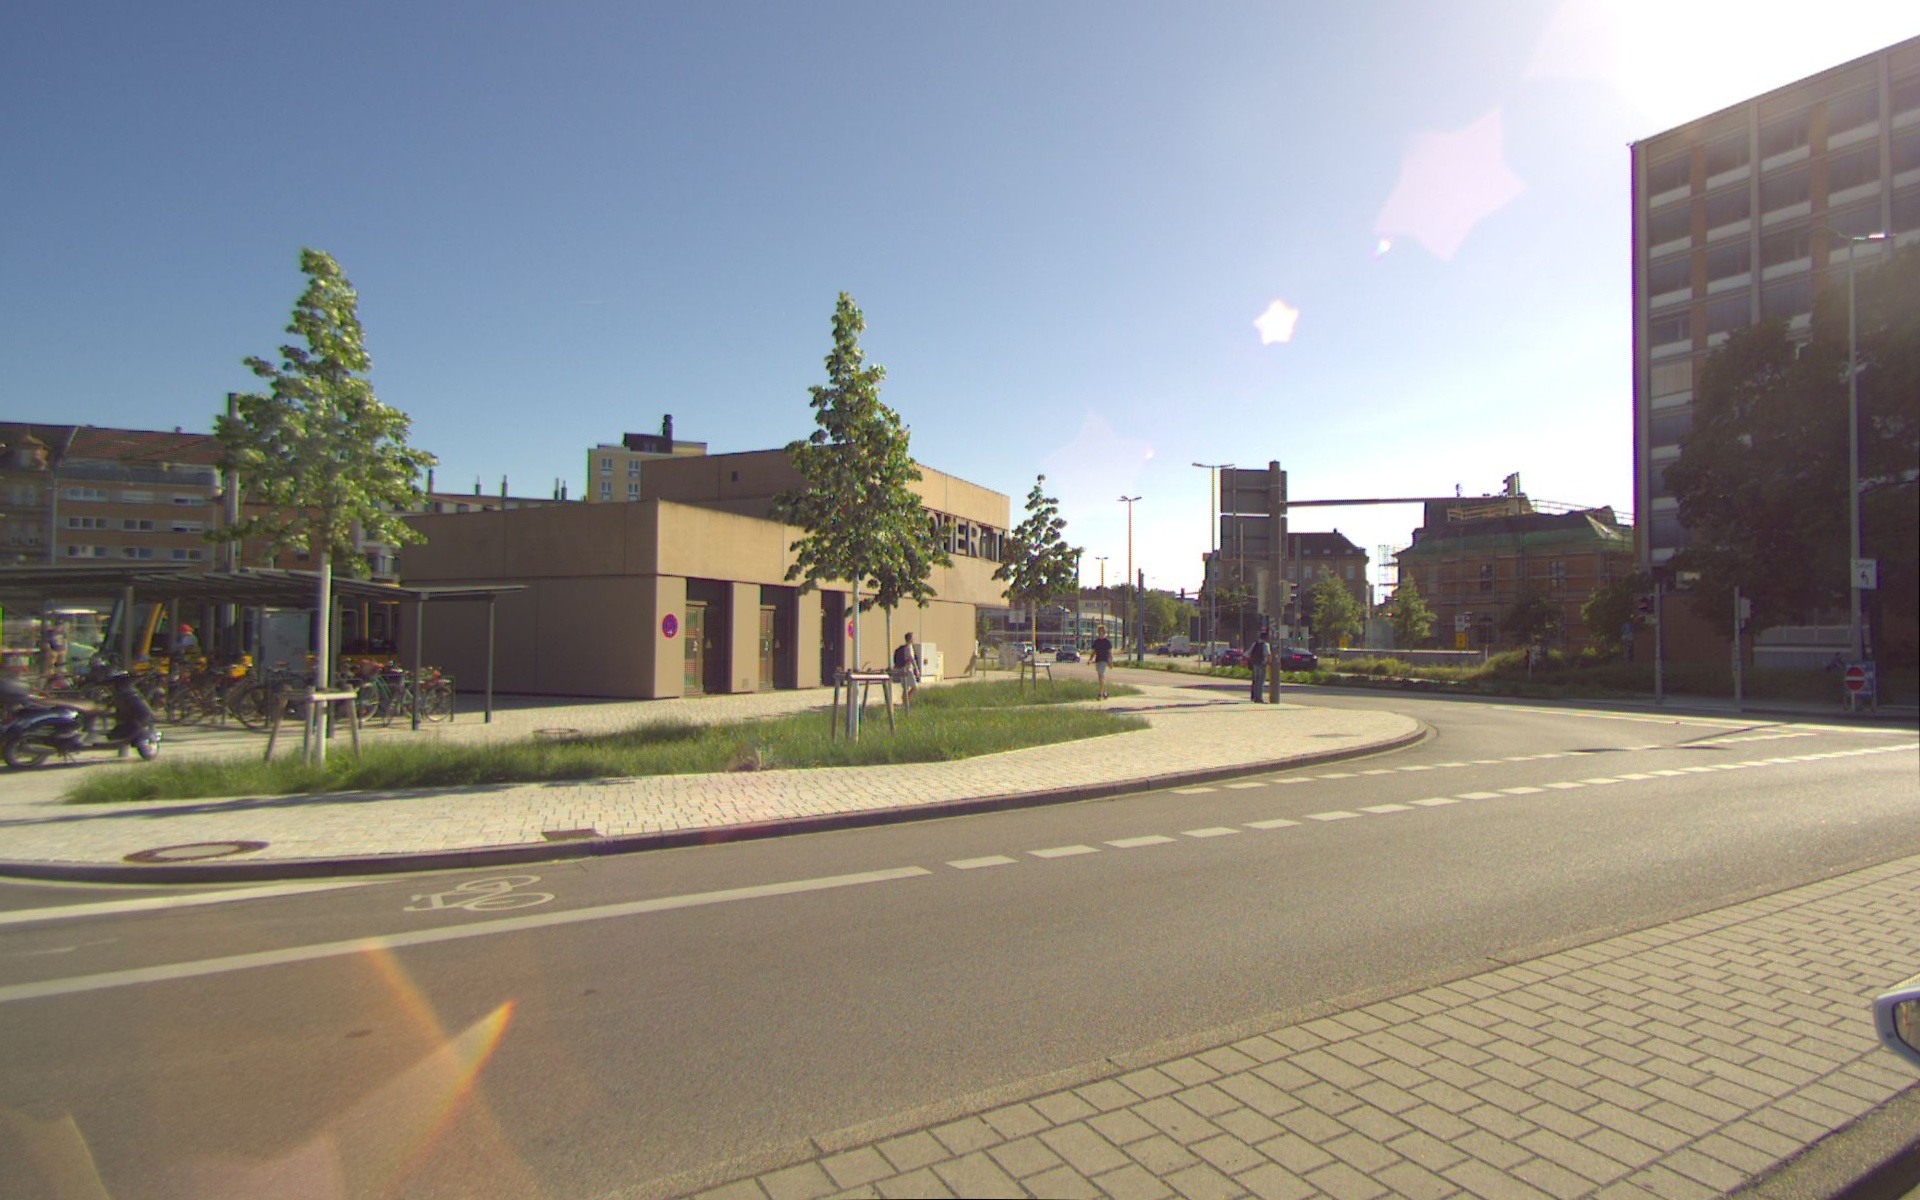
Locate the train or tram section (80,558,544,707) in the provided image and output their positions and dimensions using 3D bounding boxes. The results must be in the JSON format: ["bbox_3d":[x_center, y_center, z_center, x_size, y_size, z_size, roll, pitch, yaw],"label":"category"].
[{"bbox_3d":[-18.677,1.009,30.756,2.702,3.648,12.318,0,-2,25],"label":"train or tram section"}]

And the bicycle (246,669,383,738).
[{"bbox_3d":[-10.680,1.685,16.688,0.617,1.021,1.828,0,-2,27],"label":"bicycle"}]

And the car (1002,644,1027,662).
[{"bbox_3d":[5.843,5.687,107.472,1.963,1.814,3.995,1,-2,-8],"label":"car"}]

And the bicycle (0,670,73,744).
[{"bbox_3d":[-14.113,1.556,14.517,0.617,1.021,1.829,0,-2,25],"label":"bicycle"}]

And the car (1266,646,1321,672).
[{"bbox_3d":[20.800,3.667,62.738,1.962,1.538,3.818,1,-2,-4],"label":"car"}]

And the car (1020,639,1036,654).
[{"bbox_3d":[8.078,5.601,120.050,1.866,1.728,4.003,0,-3,4],"label":"car"}]

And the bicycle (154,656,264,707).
[{"bbox_3d":[-16.266,1.741,21.808,0.617,1.021,1.829,0,-2,25],"label":"bicycle"}]

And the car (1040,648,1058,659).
[{"bbox_3d":[13.312,7.946,149.920,1.960,1.603,4.002,0,-2,16],"label":"car"}]

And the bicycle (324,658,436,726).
[{"bbox_3d":[-10.751,1.683,18.688,0.616,1.161,1.831,0,-2,18],"label":"bicycle"}]

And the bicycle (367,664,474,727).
[{"bbox_3d":[-9.831,1.716,18.389,0.616,1.021,1.832,0,-2,16],"label":"bicycle"}]

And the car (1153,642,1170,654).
[{"bbox_3d":[27.887,6.576,138.854,2.059,1.602,4.862,0,-2,8],"label":"car"}]

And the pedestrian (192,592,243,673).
[{"bbox_3d":[-17.576,0.776,23.785,0.738,1.880,0.709,1,-2,-19],"label":"pedestrian"}]

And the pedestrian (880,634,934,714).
[{"bbox_3d":[-1.178,1.628,22.278,1.008,1.727,0.836,1,-2,-18],"label":"pedestrian"}]

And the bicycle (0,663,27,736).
[{"bbox_3d":[-15.280,1.523,15.016,0.617,1.094,1.829,0,-2,25],"label":"bicycle"}]

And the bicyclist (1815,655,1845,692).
[{"bbox_3d":[34.560,2.903,39.910,0.637,1.431,0.638,1,-2,-5],"label":"bicyclist"}]

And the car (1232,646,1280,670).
[{"bbox_3d":[20.275,3.950,69.003,1.962,1.538,3.818,1,-2,-4],"label":"car"}]

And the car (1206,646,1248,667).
[{"bbox_3d":[20.045,4.221,75.509,1.962,1.538,3.818,1,-2,-4],"label":"car"}]

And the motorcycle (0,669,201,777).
[{"bbox_3d":[-10.928,1.484,12.480,0.599,1.173,2.360,0,-2,25],"label":"motorcycle"}]

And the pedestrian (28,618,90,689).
[{"bbox_3d":[-26.271,1.549,29.292,0.854,2.040,1.012,0,-2,19],"label":"pedestrian"}]

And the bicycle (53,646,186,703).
[{"bbox_3d":[-16.001,1.399,19.171,0.617,1.021,1.828,0,-2,27],"label":"bicycle"}]

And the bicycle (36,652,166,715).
[{"bbox_3d":[-16.919,1.618,19.834,0.617,1.146,1.828,0,-2,27],"label":"bicycle"}]

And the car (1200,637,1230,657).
[{"bbox_3d":[26.230,4.809,103.515,2.031,2.040,5.018,0,-2,3],"label":"car"}]

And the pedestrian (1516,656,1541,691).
[{"bbox_3d":[33.729,4.348,59.640,0.995,2.040,0.825,1,-2,-5],"label":"pedestrian"}]

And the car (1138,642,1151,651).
[{"bbox_3d":[36.810,9.293,200.347,1.960,1.695,4.002,0,-2,18],"label":"car"}]

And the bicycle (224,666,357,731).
[{"bbox_3d":[-11.624,1.687,17.505,0.492,1.010,1.887,0,-2,31],"label":"bicycle"}]

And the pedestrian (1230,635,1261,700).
[{"bbox_3d":[7.661,1.804,26.959,0.594,1.719,0.634,1,-2,-7],"label":"pedestrian"}]

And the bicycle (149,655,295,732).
[{"bbox_3d":[-12.897,1.606,17.633,0.496,1.225,2.051,0,-2,26],"label":"bicycle"}]

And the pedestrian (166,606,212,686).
[{"bbox_3d":[-18.419,1.099,24.015,0.671,1.880,0.602,1,-2,-19],"label":"pedestrian"}]

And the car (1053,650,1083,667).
[{"bbox_3d":[9.429,5.112,87.976,1.962,1.407,3.998,0,-3,-5],"label":"car"}]

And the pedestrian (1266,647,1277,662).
[{"bbox_3d":[41.563,7.262,134.076,1.249,2.040,1.093,0,-2,13],"label":"pedestrian"}]

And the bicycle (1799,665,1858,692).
[{"bbox_3d":[34.549,3.115,40.006,0.612,0.971,1.870,1,-2,-5],"label":"bicycle"}]

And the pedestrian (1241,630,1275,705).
[{"bbox_3d":[7.611,1.708,25.672,0.594,1.880,0.681,1,-2,-7],"label":"pedestrian"}]

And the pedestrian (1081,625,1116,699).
[{"bbox_3d":[3.602,1.602,26.118,0.825,1.869,0.867,0,-2,12],"label":"pedestrian"}]

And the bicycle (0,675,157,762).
[{"bbox_3d":[-12.046,1.565,13.525,0.617,1.021,1.829,0,-2,25],"label":"bicycle"}]

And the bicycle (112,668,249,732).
[{"bbox_3d":[-13.873,1.748,17.942,0.617,1.021,1.828,0,-2,27],"label":"bicycle"}]

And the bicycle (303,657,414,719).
[{"bbox_3d":[-11.754,1.694,19.693,0.617,1.107,1.829,0,-2,25],"label":"bicycle"}]

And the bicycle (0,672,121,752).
[{"bbox_3d":[-13.129,1.564,14.077,0.617,1.021,2.026,0,-2,25],"label":"bicycle"}]

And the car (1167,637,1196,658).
[{"bbox_3d":[27.956,5.956,127.067,2.952,2.580,6.963,0,-2,7],"label":"car"}]
